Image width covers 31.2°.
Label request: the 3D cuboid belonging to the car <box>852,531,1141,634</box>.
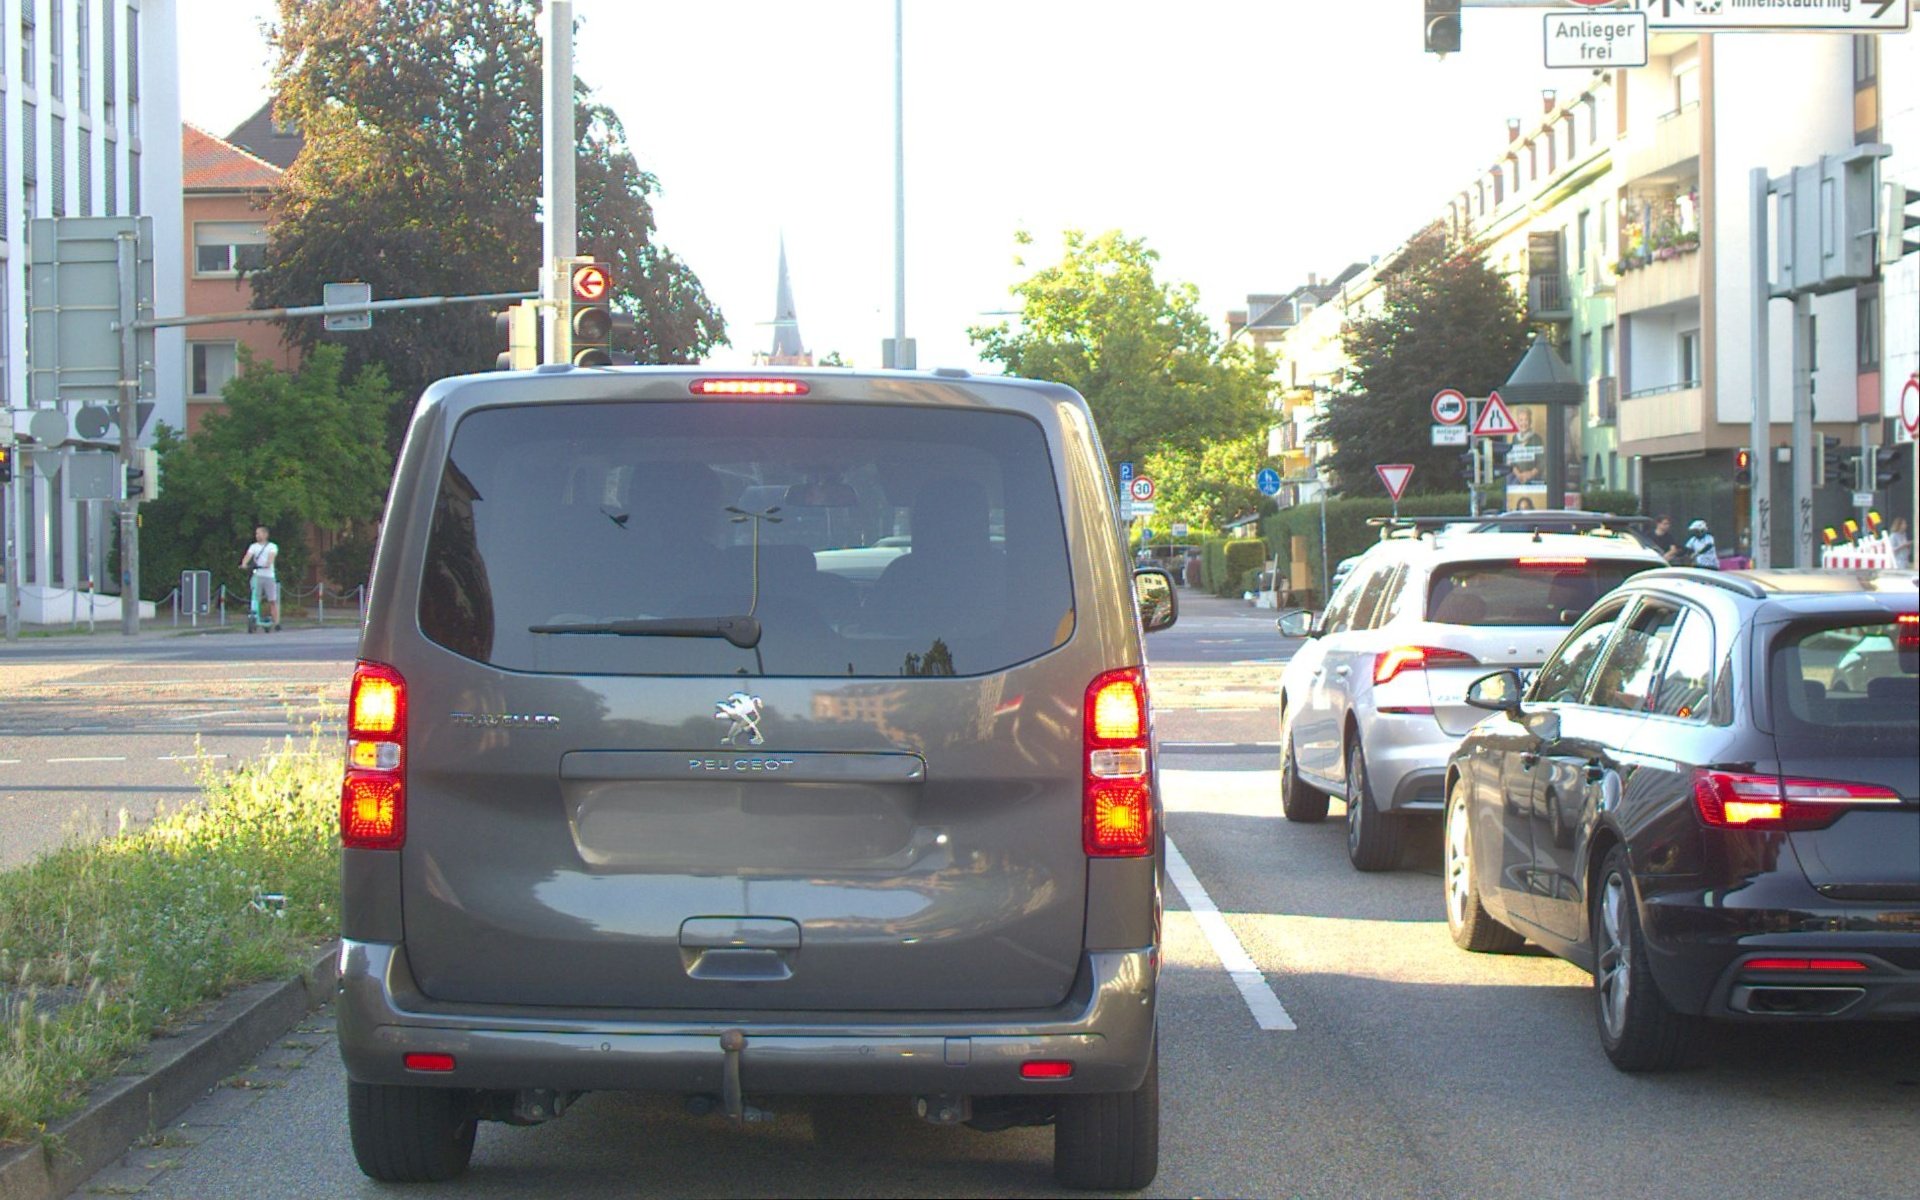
[{"bbox_3d":[0.507,-0.272,49.946,3.986,1.415,1.788,-1,1,-7],"label":"car"}]

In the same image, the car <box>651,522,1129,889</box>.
[{"bbox_3d":[-0.314,0.401,16.442,1.993,1.525,4.000,-1,1,-1],"label":"car"}]

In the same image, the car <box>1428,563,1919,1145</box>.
[{"bbox_3d":[2.626,0.626,10.762,1.681,1.416,4.214,1,1,-1],"label":"car"}]

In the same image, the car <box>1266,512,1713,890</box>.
[{"bbox_3d":[2.450,0.396,16.698,1.528,1.608,3.745,1,1,-1],"label":"car"}]

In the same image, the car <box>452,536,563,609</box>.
[{"bbox_3d":[-9.191,-0.583,70.045,1.856,1.415,4.001,-1,1,-2],"label":"car"}]

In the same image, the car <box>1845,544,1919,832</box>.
[{"bbox_3d":[5.599,0.449,17.100,1.504,1.444,3.305,-1,1,-1],"label":"car"}]

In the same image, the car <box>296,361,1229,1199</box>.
[{"bbox_3d":[-0.435,0.403,9.384,1.907,1.857,4.527,1,1,-1],"label":"car"}]

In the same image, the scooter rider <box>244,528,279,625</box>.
[{"bbox_3d":[-12.225,-0.414,60.174,0.481,1.691,0.636,-1,1,-1],"label":"scooter rider"}]

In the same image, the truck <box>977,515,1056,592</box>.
[{"bbox_3d":[1.552,-1.316,96.159,2.128,2.079,4.631,-1,1,0],"label":"truck"}]

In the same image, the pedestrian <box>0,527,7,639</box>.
[{"bbox_3d":[-15.021,-0.259,52.960,0.625,1.716,0.671,-1,1,-14],"label":"pedestrian"}]

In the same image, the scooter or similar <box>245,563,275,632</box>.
[{"bbox_3d":[-12.226,-0.052,60.038,0.285,1.184,1.169,-1,1,-1],"label":"scooter or similar"}]

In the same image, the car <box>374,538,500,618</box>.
[{"bbox_3d":[-9.737,-0.429,64.249,1.856,1.415,4.001,-1,1,-2],"label":"car"}]

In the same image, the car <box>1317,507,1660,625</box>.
[{"bbox_3d":[7.200,-0.481,47.063,4.338,1.544,1.788,-1,1,-5],"label":"car"}]
